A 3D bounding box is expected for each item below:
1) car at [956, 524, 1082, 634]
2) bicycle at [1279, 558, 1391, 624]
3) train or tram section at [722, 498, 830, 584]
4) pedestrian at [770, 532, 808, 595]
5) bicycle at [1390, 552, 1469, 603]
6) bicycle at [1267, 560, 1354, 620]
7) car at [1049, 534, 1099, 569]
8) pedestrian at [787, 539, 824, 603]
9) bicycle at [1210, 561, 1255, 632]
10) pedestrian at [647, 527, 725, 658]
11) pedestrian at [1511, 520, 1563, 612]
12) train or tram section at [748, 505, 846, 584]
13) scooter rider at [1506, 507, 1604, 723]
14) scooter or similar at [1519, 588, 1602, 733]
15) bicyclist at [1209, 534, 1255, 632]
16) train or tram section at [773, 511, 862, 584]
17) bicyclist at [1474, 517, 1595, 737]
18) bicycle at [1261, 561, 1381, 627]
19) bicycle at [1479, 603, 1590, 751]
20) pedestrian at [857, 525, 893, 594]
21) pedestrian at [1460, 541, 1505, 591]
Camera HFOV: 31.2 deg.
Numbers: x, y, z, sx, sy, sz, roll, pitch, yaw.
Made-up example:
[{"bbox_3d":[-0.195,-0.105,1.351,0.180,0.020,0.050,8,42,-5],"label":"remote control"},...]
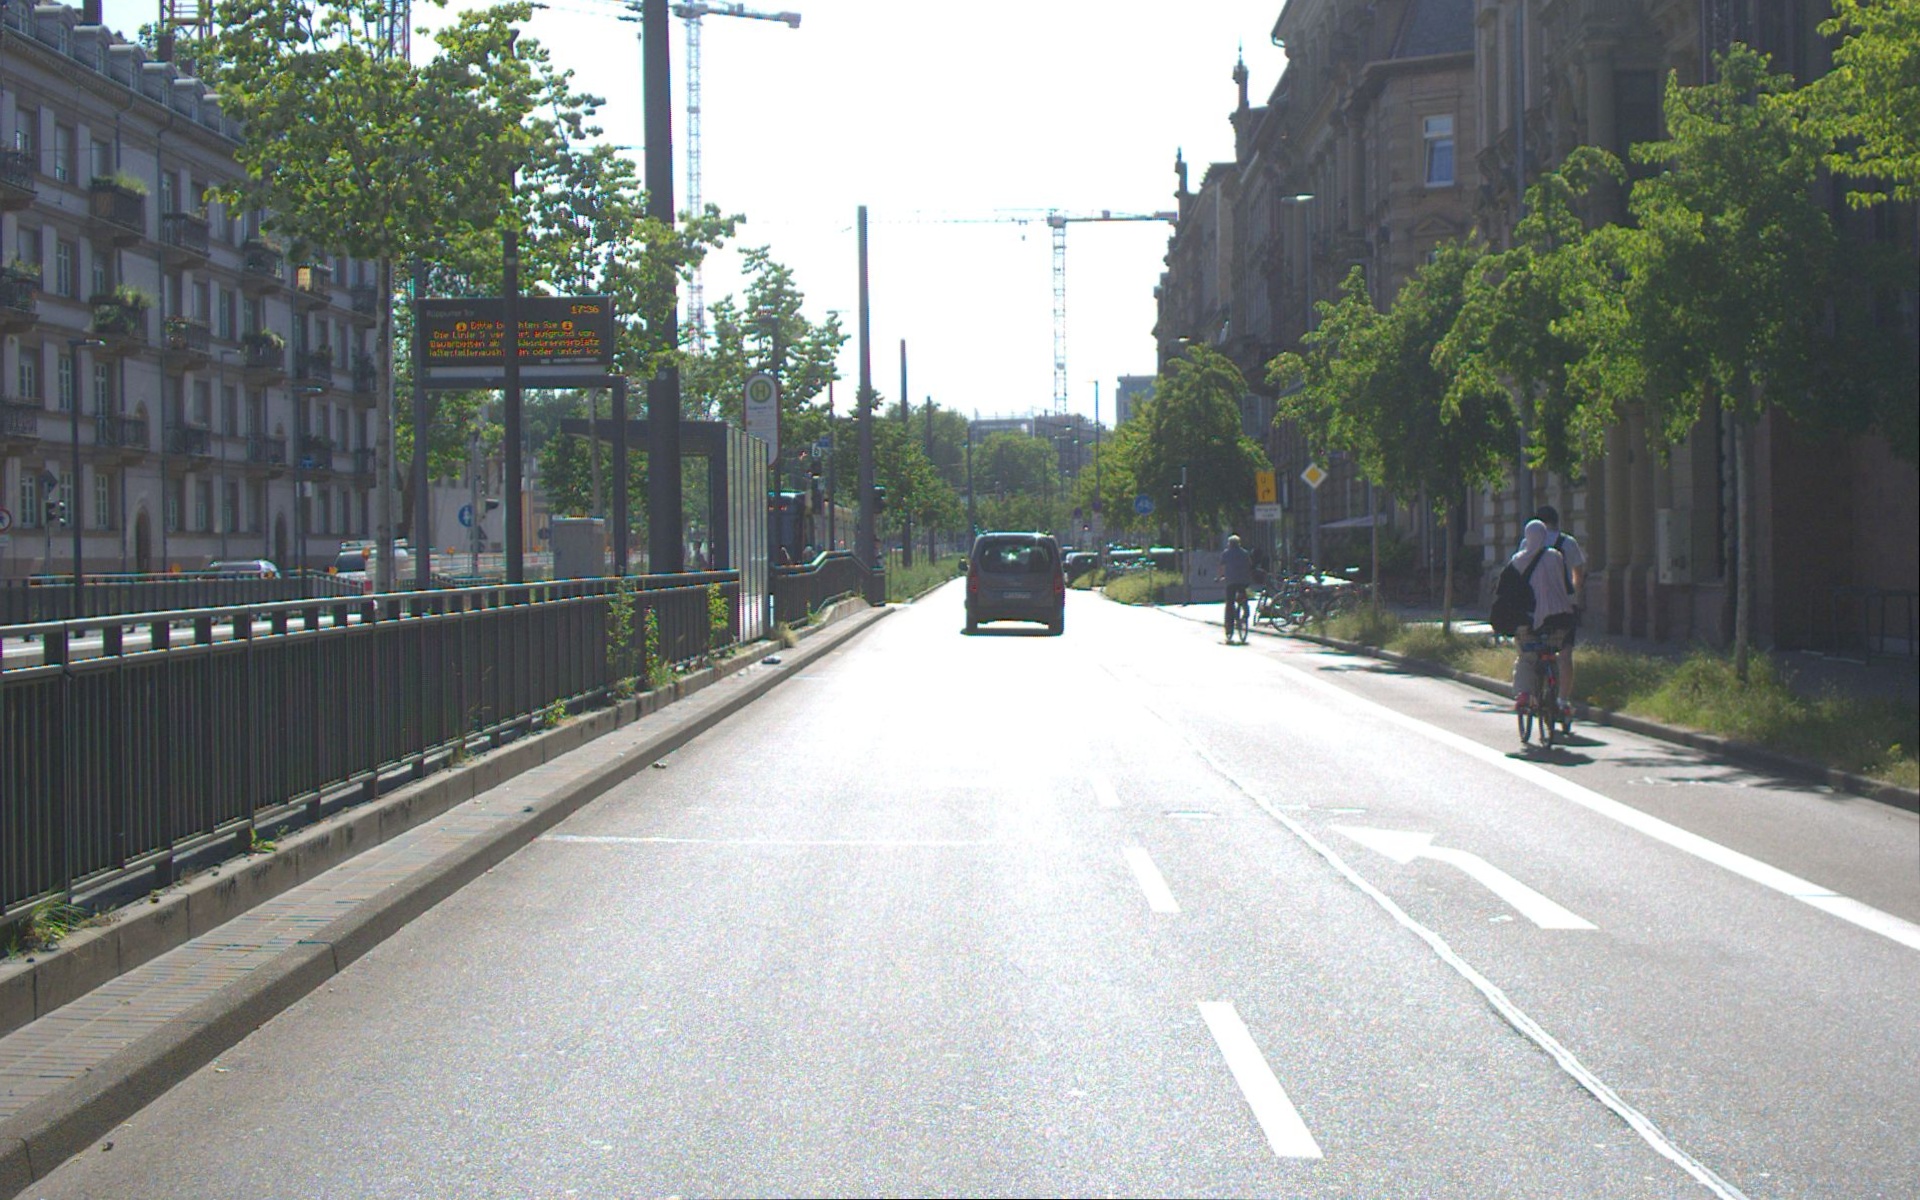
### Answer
[{"bbox_3d":[1.058,-0.402,63.290,2.200,1.919,4.654,-1,1,0],"label":"car"},{"bbox_3d":[7.068,-0.179,64.856,1.995,1.124,0.710,-3,1,2],"label":"bicycle"},{"bbox_3d":[-6.112,-1.915,115.439,2.756,2.733,9.863,1,0,2],"label":"train or tram section"},{"bbox_3d":[-4.171,-0.888,84.105,0.865,1.531,0.909,0,1,1],"label":"pedestrian"},{"bbox_3d":[11.201,-0.539,82.016,1.818,1.167,0.654,-1,4,5],"label":"bicycle"},{"bbox_3d":[6.742,-0.195,66.174,1.600,1.042,0.607,-3,1,4],"label":"bicycle"},{"bbox_3d":[5.012,-2.149,151.591,2.028,1.493,4.654,-1,1,0],"label":"car"},{"bbox_3d":[-3.736,-0.705,83.030,0.813,1.531,0.798,0,1,2],"label":"pedestrian"},{"bbox_3d":[4.692,-0.067,59.327,0.601,1.177,1.869,1,1,0],"label":"bicycle"},{"bbox_3d":[-3.261,-0.095,40.933,0.813,1.531,0.798,-1,1,2],"label":"pedestrian"},{"bbox_3d":[9.786,-0.578,58.363,0.709,1.536,0.927,-1,1,0],"label":"pedestrian"},{"bbox_3d":[-5.867,-1.958,125.283,2.756,2.733,9.863,1,0,2],"label":"train or tram section"},{"bbox_3d":[5.206,0.121,30.116,0.666,1.854,0.901,1,1,0],"label":"scooter rider"},{"bbox_3d":[5.259,0.517,30.143,0.490,1.222,1.170,1,1,0],"label":"scooter or similar"},{"bbox_3d":[4.697,-0.305,59.370,0.684,1.667,0.922,1,1,0],"label":"bicyclist"},{"bbox_3d":[-5.535,-2.001,135.138,2.756,2.733,9.863,1,0,2],"label":"train or tram section"},{"bbox_3d":[4.566,0.206,27.371,0.779,1.705,0.868,1,1,0],"label":"bicyclist"},{"bbox_3d":[6.659,-0.117,63.491,1.994,1.089,0.847,-3,1,-9],"label":"bicycle"},{"bbox_3d":[4.542,0.592,27.276,0.557,1.089,1.792,1,1,0],"label":"bicycle"},{"bbox_3d":[-2.192,-1.051,88.666,0.865,1.782,0.971,0,1,-6],"label":"pedestrian"},{"bbox_3d":[12.660,-0.831,83.324,0.849,1.210,0.934,0,1,-6],"label":"pedestrian"}]
